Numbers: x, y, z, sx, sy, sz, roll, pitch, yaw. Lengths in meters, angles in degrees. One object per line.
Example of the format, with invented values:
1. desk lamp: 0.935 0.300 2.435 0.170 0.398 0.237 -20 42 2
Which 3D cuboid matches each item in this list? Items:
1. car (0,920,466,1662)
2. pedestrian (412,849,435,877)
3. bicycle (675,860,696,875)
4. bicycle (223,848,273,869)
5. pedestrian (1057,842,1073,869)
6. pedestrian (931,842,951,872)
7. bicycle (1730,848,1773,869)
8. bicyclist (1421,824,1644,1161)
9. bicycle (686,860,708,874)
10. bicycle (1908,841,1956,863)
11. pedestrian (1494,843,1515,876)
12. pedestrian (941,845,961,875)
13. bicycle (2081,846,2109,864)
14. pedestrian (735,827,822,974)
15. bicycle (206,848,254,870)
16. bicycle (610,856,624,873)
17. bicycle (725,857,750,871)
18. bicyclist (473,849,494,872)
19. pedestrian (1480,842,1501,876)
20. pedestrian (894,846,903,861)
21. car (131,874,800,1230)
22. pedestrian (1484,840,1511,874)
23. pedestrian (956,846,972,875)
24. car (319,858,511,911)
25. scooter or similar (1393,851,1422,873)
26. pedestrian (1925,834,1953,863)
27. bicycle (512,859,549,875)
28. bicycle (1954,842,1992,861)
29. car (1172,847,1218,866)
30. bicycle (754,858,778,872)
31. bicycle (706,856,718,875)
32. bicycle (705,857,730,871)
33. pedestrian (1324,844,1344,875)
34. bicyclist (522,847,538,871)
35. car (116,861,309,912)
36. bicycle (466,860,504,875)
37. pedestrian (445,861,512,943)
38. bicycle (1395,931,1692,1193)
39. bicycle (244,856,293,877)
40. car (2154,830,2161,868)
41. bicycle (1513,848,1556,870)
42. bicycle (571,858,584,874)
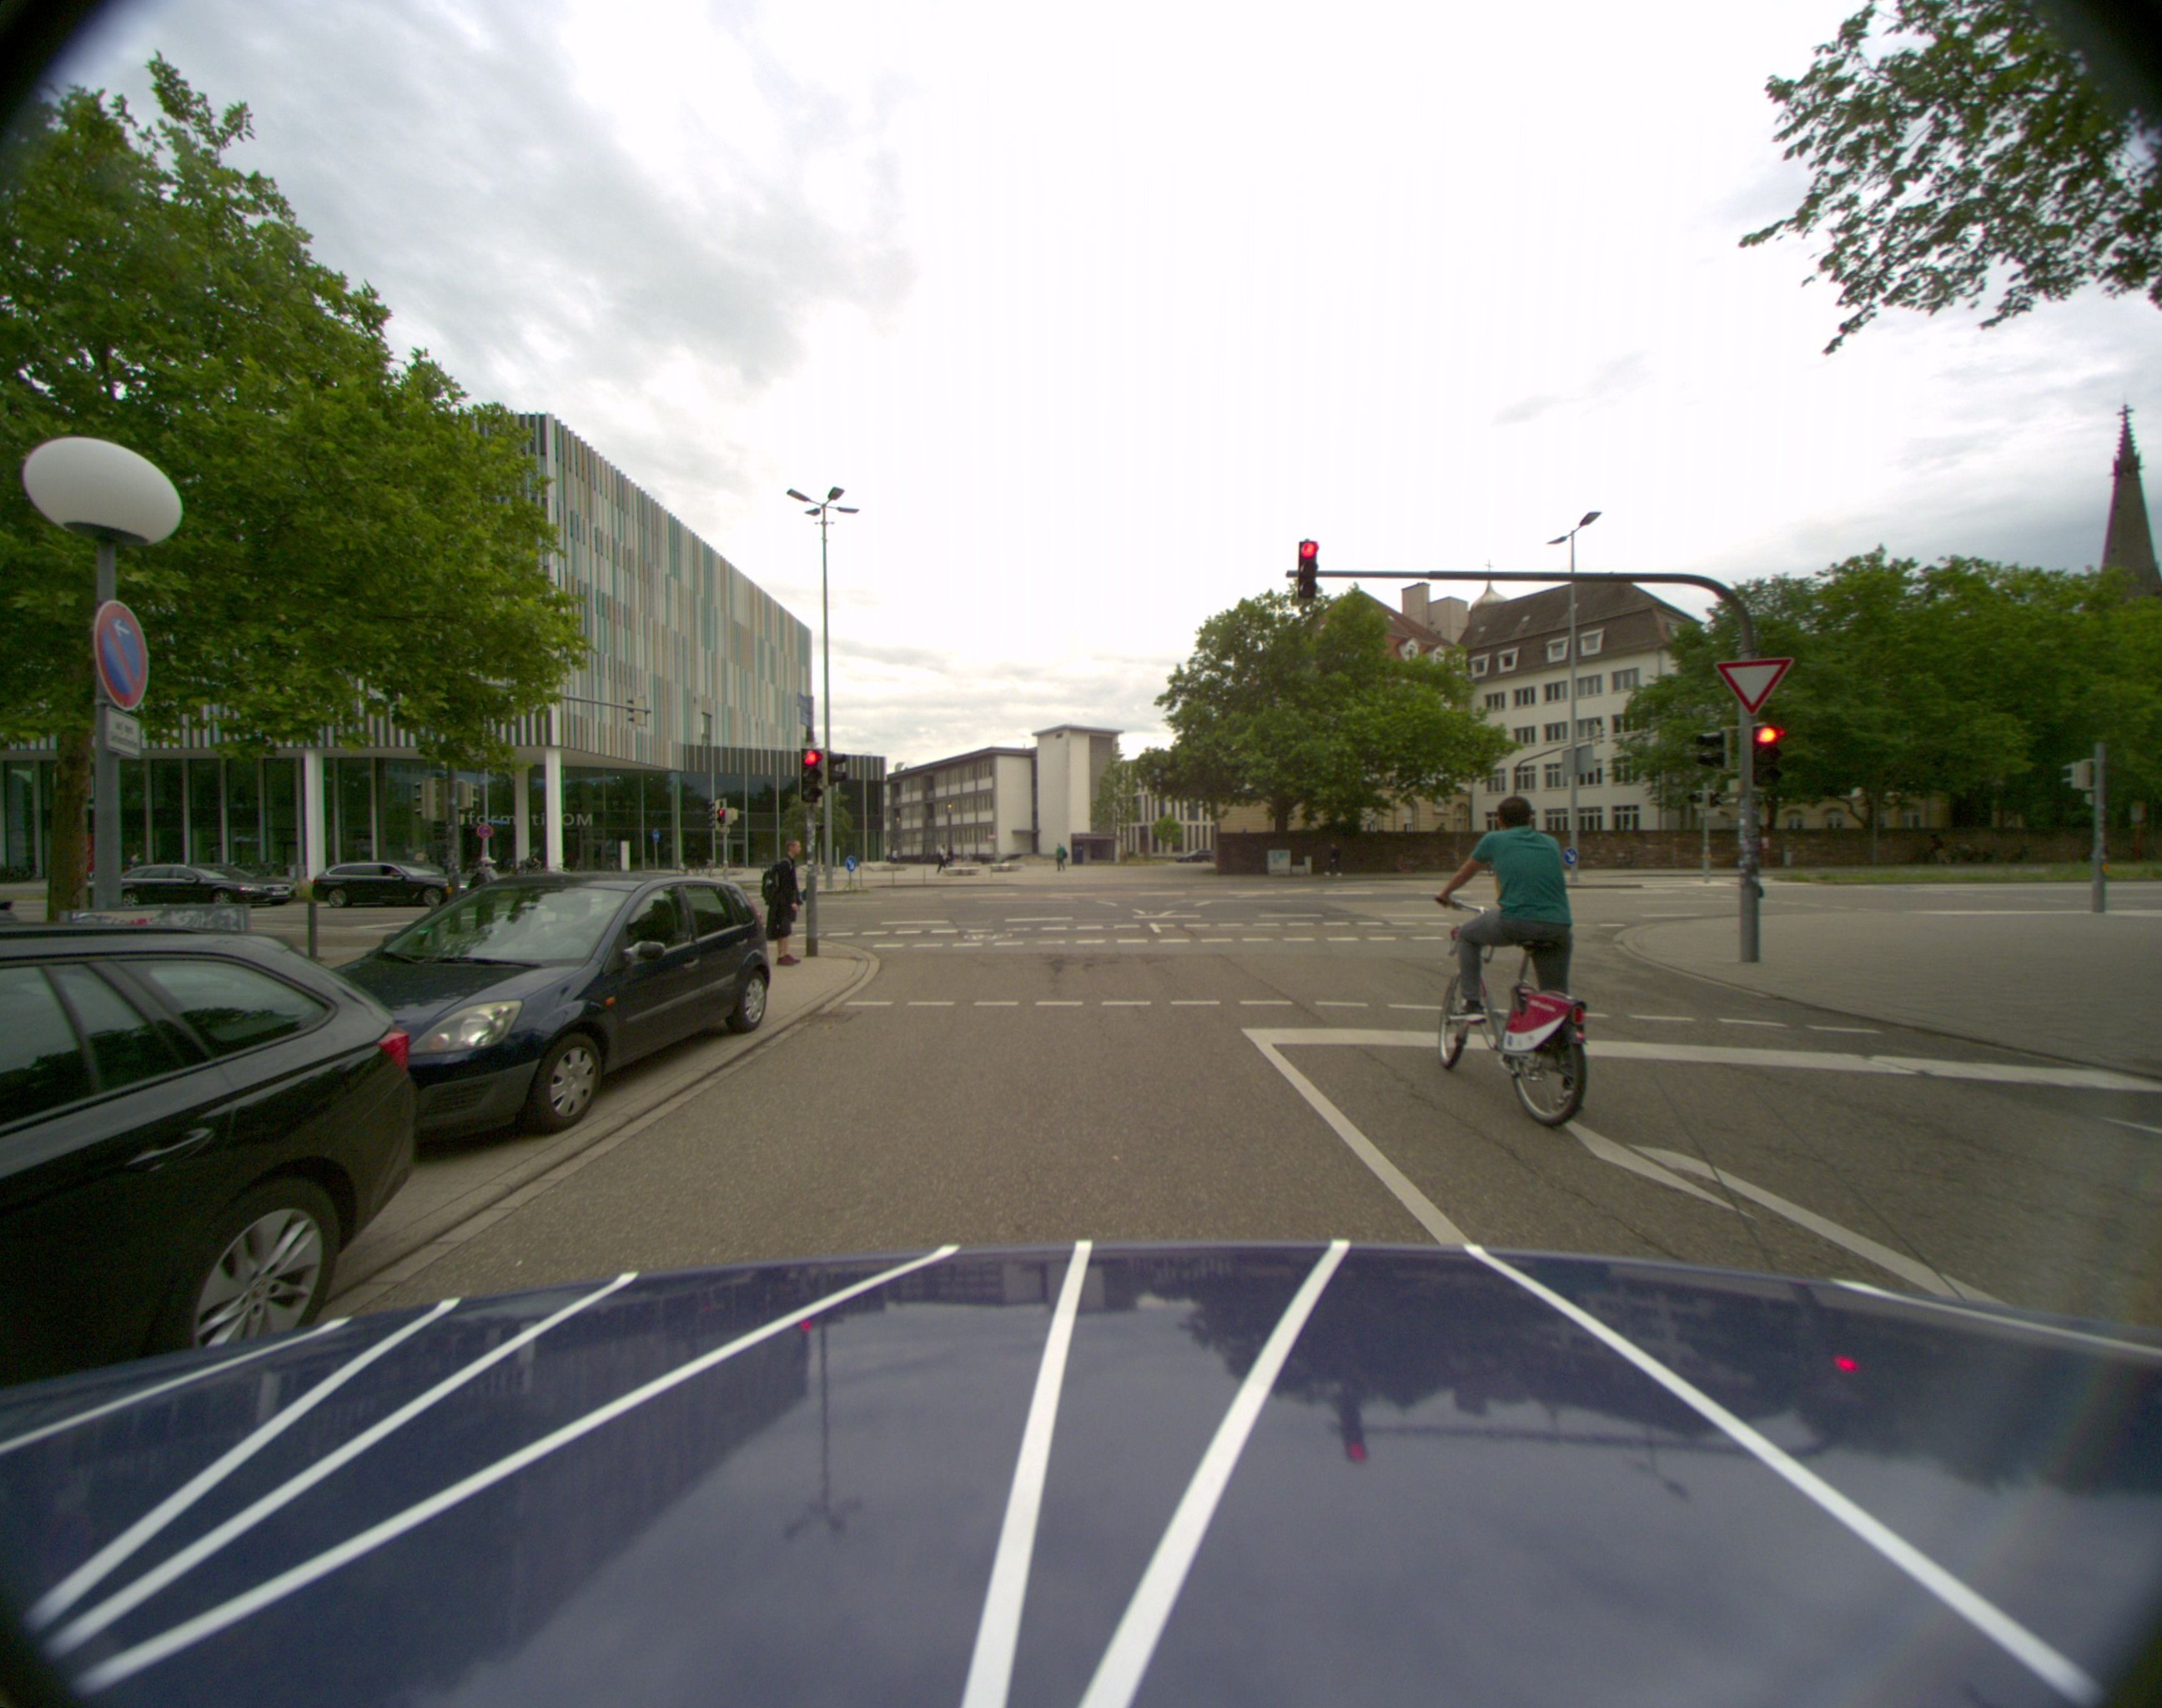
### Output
1. car: -3.012 0.958 0.729 1.867 1.393 4.474 2 0 -11
2. pedestrian: -42.855 0.572 49.528 0.762 1.778 0.802 0 1 1
3. bicycle: -26.260 0.885 50.445 2.004 0.930 0.485 0 1 40
4. bicycle: -50.982 0.282 46.513 0.628 1.251 2.106 -2 -2 4
5. pedestrian: -1.034 0.094 47.929 0.906 1.705 0.951 -1 1 -6
6. pedestrian: -8.418 0.162 45.705 0.848 1.778 0.892 -1 1 -43
7. bicycle: 38.569 0.256 43.724 2.156 1.142 0.664 -1 3 -11
8. bicyclist: 2.610 0.721 4.505 0.659 1.769 0.983 0 1 -8
9. bicycle: -25.739 0.888 50.973 2.004 0.930 0.550 0 1 40
10. bicycle: 51.107 -0.124 45.630 2.543 1.258 0.664 -1 3 -11
11. pedestrian: 21.949 0.286 39.364 0.642 1.684 0.779 -1 2 0
12. pedestrian: -7.903 0.348 46.063 0.848 1.778 0.892 -1 1 -42
13. bicycle: 67.298 0.045 50.419 2.250 1.142 0.507 -1 3 -21
14. pedestrian: -4.199 0.617 10.571 0.791 1.941 0.759 0 1 25
15. bicycle: -51.937 0.306 46.415 0.628 1.251 2.105 -2 -2 -2
16. bicycle: -29.479 0.639 48.279 0.485 1.039 1.911 -2 2 -39
17. bicycle: -23.676 0.660 52.387 2.004 0.931 0.485 1 2 31
18. bicyclist: -35.949 0.376 45.711 0.717 1.374 0.619 -1 1 8
19. pedestrian: 21.204 0.275 39.382 0.670 1.729 0.735 -1 2 -3
20. pedestrian: -21.004 -0.077 87.661 0.777 1.779 0.759 -1 1 -34
21. car: -3.700 1.002 5.675 1.626 1.493 4.105 1 1 0
22. pedestrian: 22.150 0.137 40.388 1.006 1.779 0.757 -1 2 -1
23. pedestrian: -6.790 0.374 43.960 0.623 1.656 0.619 -1 1 43
24. car: -21.294 0.946 24.444 4.289 1.481 1.999 -1 2 -1
25. scooter or similar: 17.967 0.430 41.808 1.410 1.223 0.495 0 3 19
26. pedestrian: 50.858 -0.327 45.045 0.773 1.750 0.790 -1 2 -12
27. bicycle: -33.879 0.769 46.767 0.483 0.920 1.918 0 1 17
28. bicycle: 54.816 -0.150 46.706 2.249 1.142 0.507 -1 3 -13
29. car: 11.946 0.271 79.365 4.410 1.570 1.998 -2 -9 -34
30. bicycle: -22.421 0.789 54.062 2.004 0.931 0.485 1 2 31
31. bicycle: -21.672 0.672 44.614 0.484 1.039 1.779 -1 2 -29
32. bicycle: -24.617 0.654 51.418 2.004 0.931 0.485 1 2 31
33. pedestrian: 13.478 0.281 40.482 0.808 1.655 0.791 -1 2 1
34. bicyclist: -33.884 0.300 46.740 0.483 1.460 0.606 0 1 17
35. car: -28.165 1.041 24.738 3.996 1.445 2.000 -1 2 2
36. bicycle: -35.836 0.809 45.667 1.913 0.920 0.619 -1 1 9
37. pedestrian: -12.437 0.960 15.699 0.756 1.617 0.794 1 1 13
38. bicycle: 2.565 1.079 4.515 0.659 1.031 1.857 0 1 1
39. bicycle: -49.657 0.771 46.490 0.628 1.251 2.106 -2 -2 4
40. car: 50.945 -0.320 33.019 5.368 1.687 2.049 -2 -2 3
41. bicycle: 25.159 0.273 42.150 2.156 1.178 0.582 0 3 -9
42. bicycle: -32.663 0.762 49.308 0.485 1.039 1.911 -1 1 -39
